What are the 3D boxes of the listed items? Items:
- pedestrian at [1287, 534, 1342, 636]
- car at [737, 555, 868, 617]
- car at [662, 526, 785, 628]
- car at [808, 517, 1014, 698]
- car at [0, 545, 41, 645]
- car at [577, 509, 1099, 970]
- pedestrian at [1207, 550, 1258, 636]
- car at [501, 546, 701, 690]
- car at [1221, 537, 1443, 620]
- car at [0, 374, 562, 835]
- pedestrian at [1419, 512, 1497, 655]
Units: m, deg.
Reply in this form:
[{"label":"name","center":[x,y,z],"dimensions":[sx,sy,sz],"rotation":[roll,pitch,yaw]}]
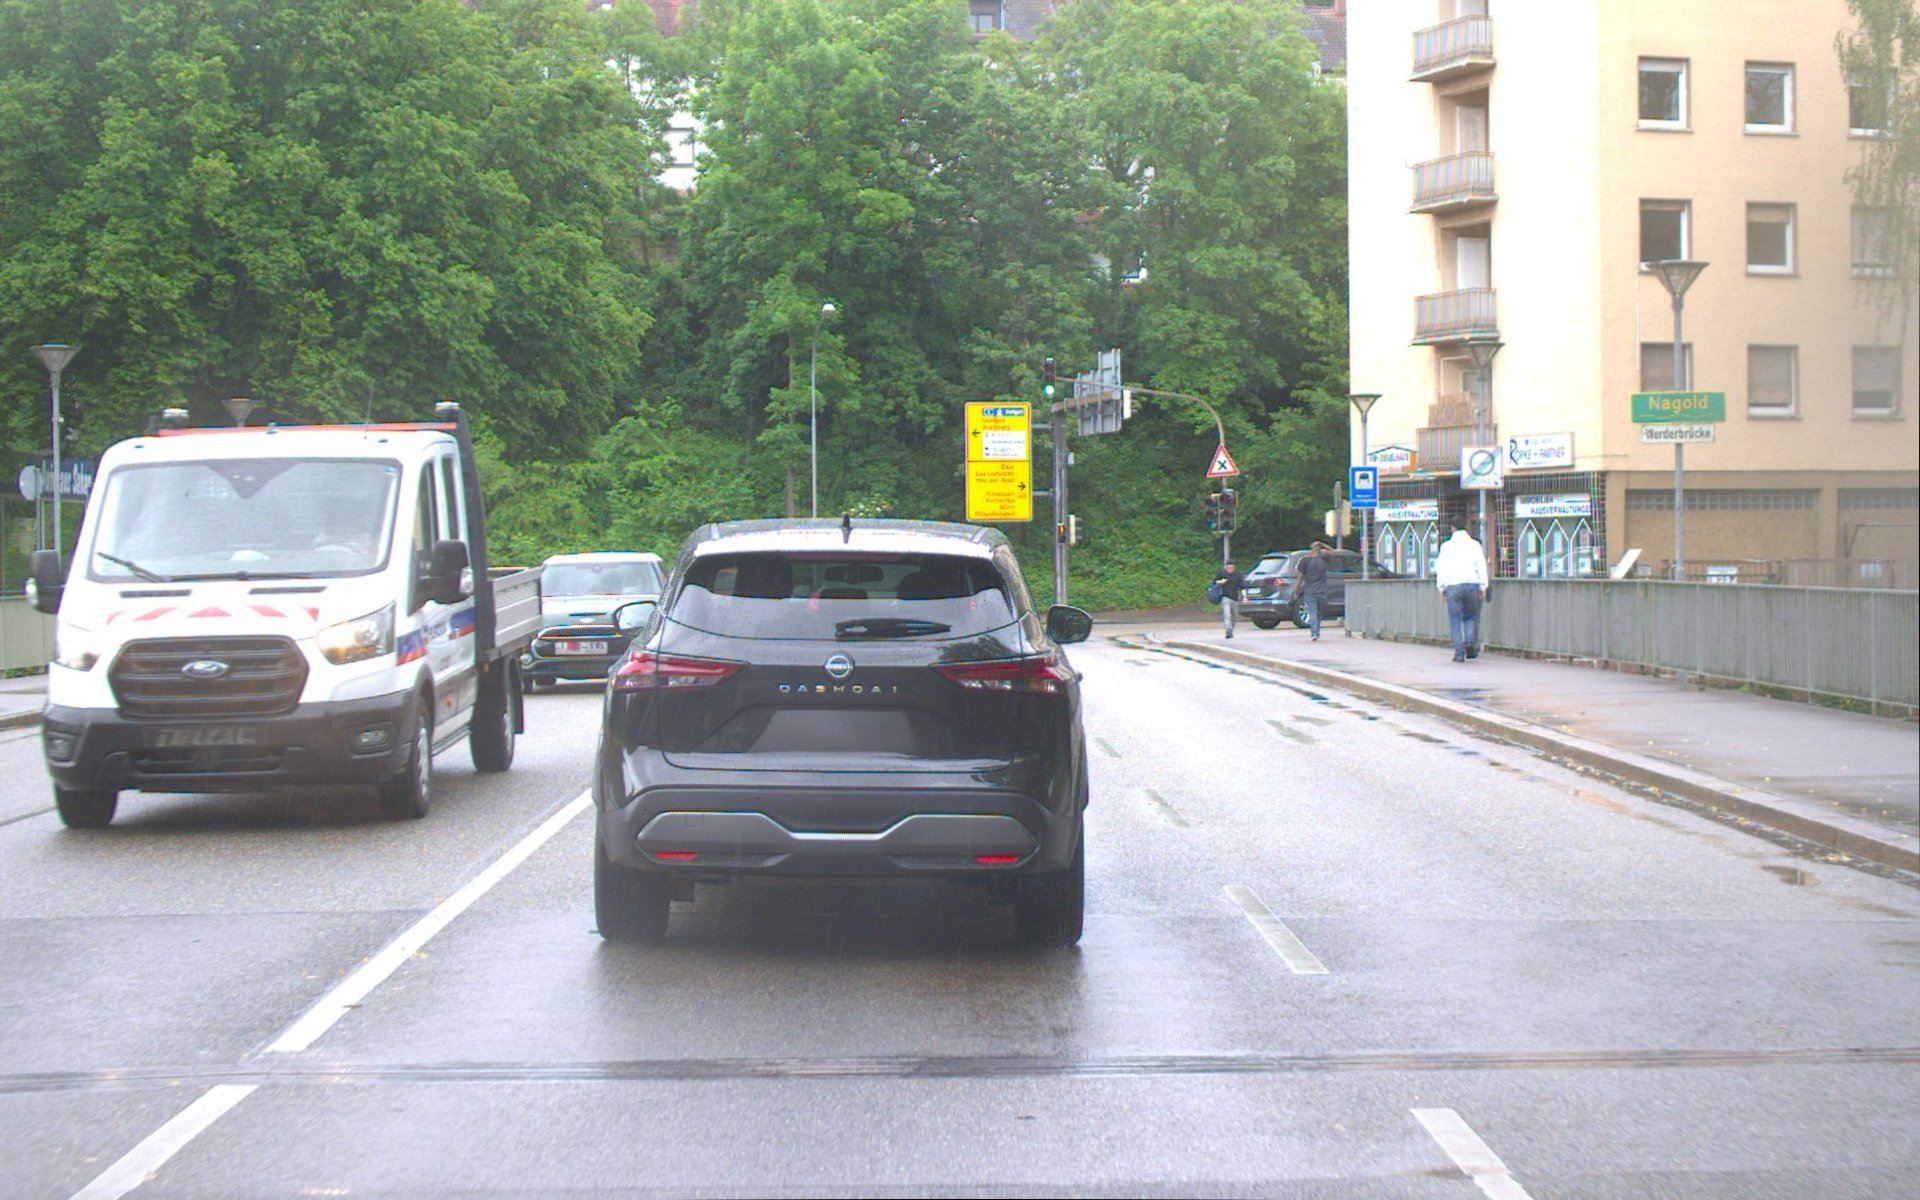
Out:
[{"label":"pedestrian","center":[5.950,-0.262,57.732],"dimensions":[0.761,1.671,0.781],"rotation":[-2,1,0]},{"label":"car","center":[-3.852,-0.329,83.585],"dimensions":[1.709,1.411,4.094],"rotation":[-2,1,-25]},{"label":"car","center":[-4.222,-0.434,61.922],"dimensions":[1.888,1.729,4.371],"rotation":[-2,1,0]},{"label":"car","center":[-0.465,0.029,32.762],"dimensions":[1.811,1.597,4.000],"rotation":[1,1,-1]},{"label":"car","center":[-20.172,-0.095,65.922],"dimensions":[4.741,1.848,2.001],"rotation":[0,2,-9]},{"label":"car","center":[-0.456,0.451,14.043],"dimensions":[1.811,1.597,4.000],"rotation":[1,1,-1]},{"label":"pedestrian","center":[5.239,-0.133,66.087],"dimensions":[0.862,1.613,0.839],"rotation":[-2,0,0]},{"label":"car","center":[-3.833,0.152,37.243],"dimensions":[1.745,1.434,4.000],"rotation":[-1,1,0]},{"label":"car","center":[7.994,-0.468,73.795],"dimensions":[4.366,1.643,1.884],"rotation":[-2,0,-26]},{"label":"car","center":[-3.918,-0.062,20.888],"dimensions":[2.289,2.300,6.510],"rotation":[-2,2,-1]},{"label":"pedestrian","center":[6.172,-0.209,42.685],"dimensions":[0.779,1.746,1.061],"rotation":[-1,0,-1]}]
